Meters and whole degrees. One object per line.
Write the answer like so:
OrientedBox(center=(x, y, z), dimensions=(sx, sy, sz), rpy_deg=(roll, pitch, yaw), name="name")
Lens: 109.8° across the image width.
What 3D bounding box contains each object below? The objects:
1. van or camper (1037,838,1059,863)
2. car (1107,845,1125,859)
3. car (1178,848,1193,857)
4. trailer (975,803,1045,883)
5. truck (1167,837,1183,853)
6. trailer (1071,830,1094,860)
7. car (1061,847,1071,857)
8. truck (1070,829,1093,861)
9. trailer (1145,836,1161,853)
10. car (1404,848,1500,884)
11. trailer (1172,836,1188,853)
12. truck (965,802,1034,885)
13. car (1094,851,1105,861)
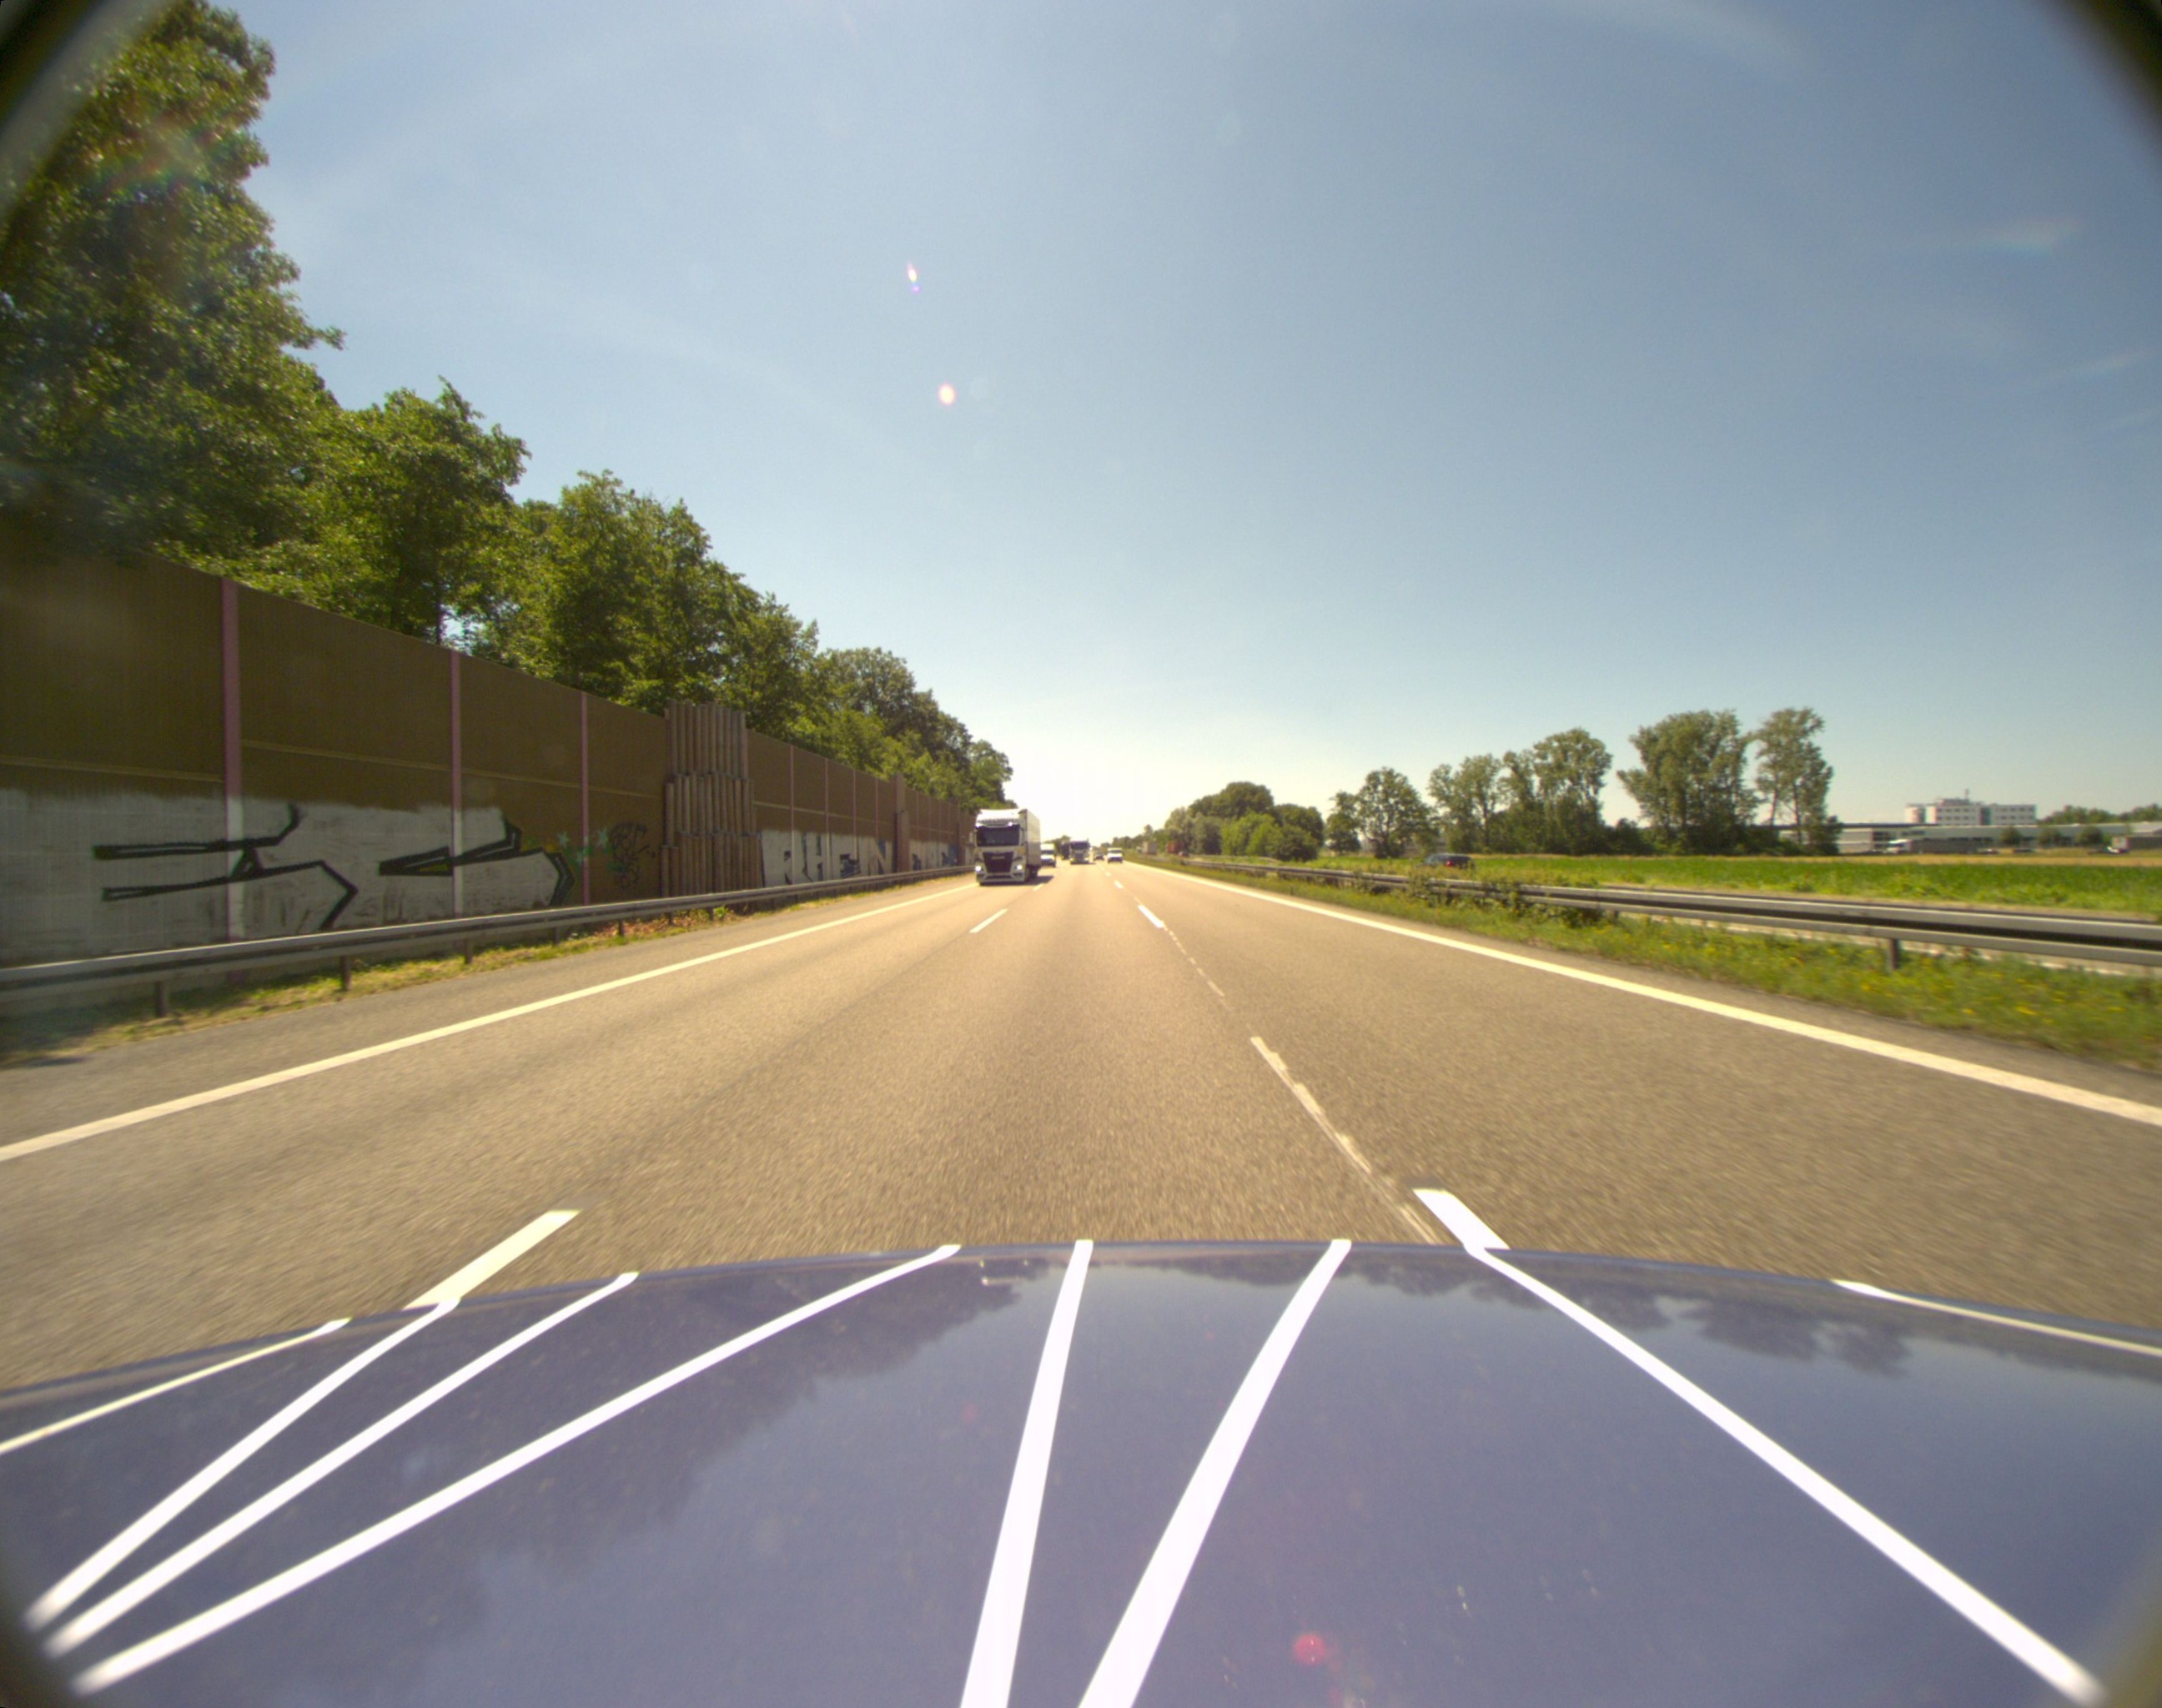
OrientedBox(center=(-3.656, -0.433, 85.130), dimensions=(2.027, 2.622, 6.486), rpy_deg=(-2, 1, 0), name="van or camper")
OrientedBox(center=(4.657, -0.285, 100.786), dimensions=(2.147, 1.810, 5.266), rpy_deg=(-2, 1, 1), name="car")
OrientedBox(center=(18.681, -0.303, 135.850), dimensions=(1.998, 1.670, 5.552), rpy_deg=(0, 0, 1), name="car")
OrientedBox(center=(-4.190, -0.671, 48.238), dimensions=(3.001, 4.264, 13.416), rpy_deg=(-2, 1, 0), name="trailer")
OrientedBox(center=(23.617, -2.275, 190.629), dimensions=(2.655, 3.862, 10.826), rpy_deg=(2, 1, 0), name="truck")
OrientedBox(center=(0.170, -1.277, 105.710), dimensions=(2.927, 4.018, 7.316), rpy_deg=(-2, 1, 0), name="trailer")
OrientedBox(center=(-3.092, -0.413, 158.563), dimensions=(1.998, 2.002, 4.867), rpy_deg=(0, 0, 0), name="car")
OrientedBox(center=(0.113, -1.246, 100.833), dimensions=(2.896, 4.007, 6.869), rpy_deg=(-2, 1, 1), name="truck")
OrientedBox(center=(19.537, -2.595, 207.240), dimensions=(3.203, 4.397, 13.324), rpy_deg=(0, 1, 0), name="trailer")
OrientedBox(center=(17.872, 0.522, 36.985), dimensions=(1.998, 1.630, 5.663), rpy_deg=(0, 0, 1), name="car")
OrientedBox(center=(23.540, -2.207, 180.871), dimensions=(2.665, 3.897, 8.660), rpy_deg=(2, 1, 0), name="trailer")
OrientedBox(center=(-4.250, -0.555, 40.973), dimensions=(3.010, 4.101, 5.252), rpy_deg=(-2, 1, 0), name="truck")
OrientedBox(center=(3.073, 0.330, 129.582), dimensions=(1.796, 1.696, 4.000), rpy_deg=(0, 0, 1), name="car")
